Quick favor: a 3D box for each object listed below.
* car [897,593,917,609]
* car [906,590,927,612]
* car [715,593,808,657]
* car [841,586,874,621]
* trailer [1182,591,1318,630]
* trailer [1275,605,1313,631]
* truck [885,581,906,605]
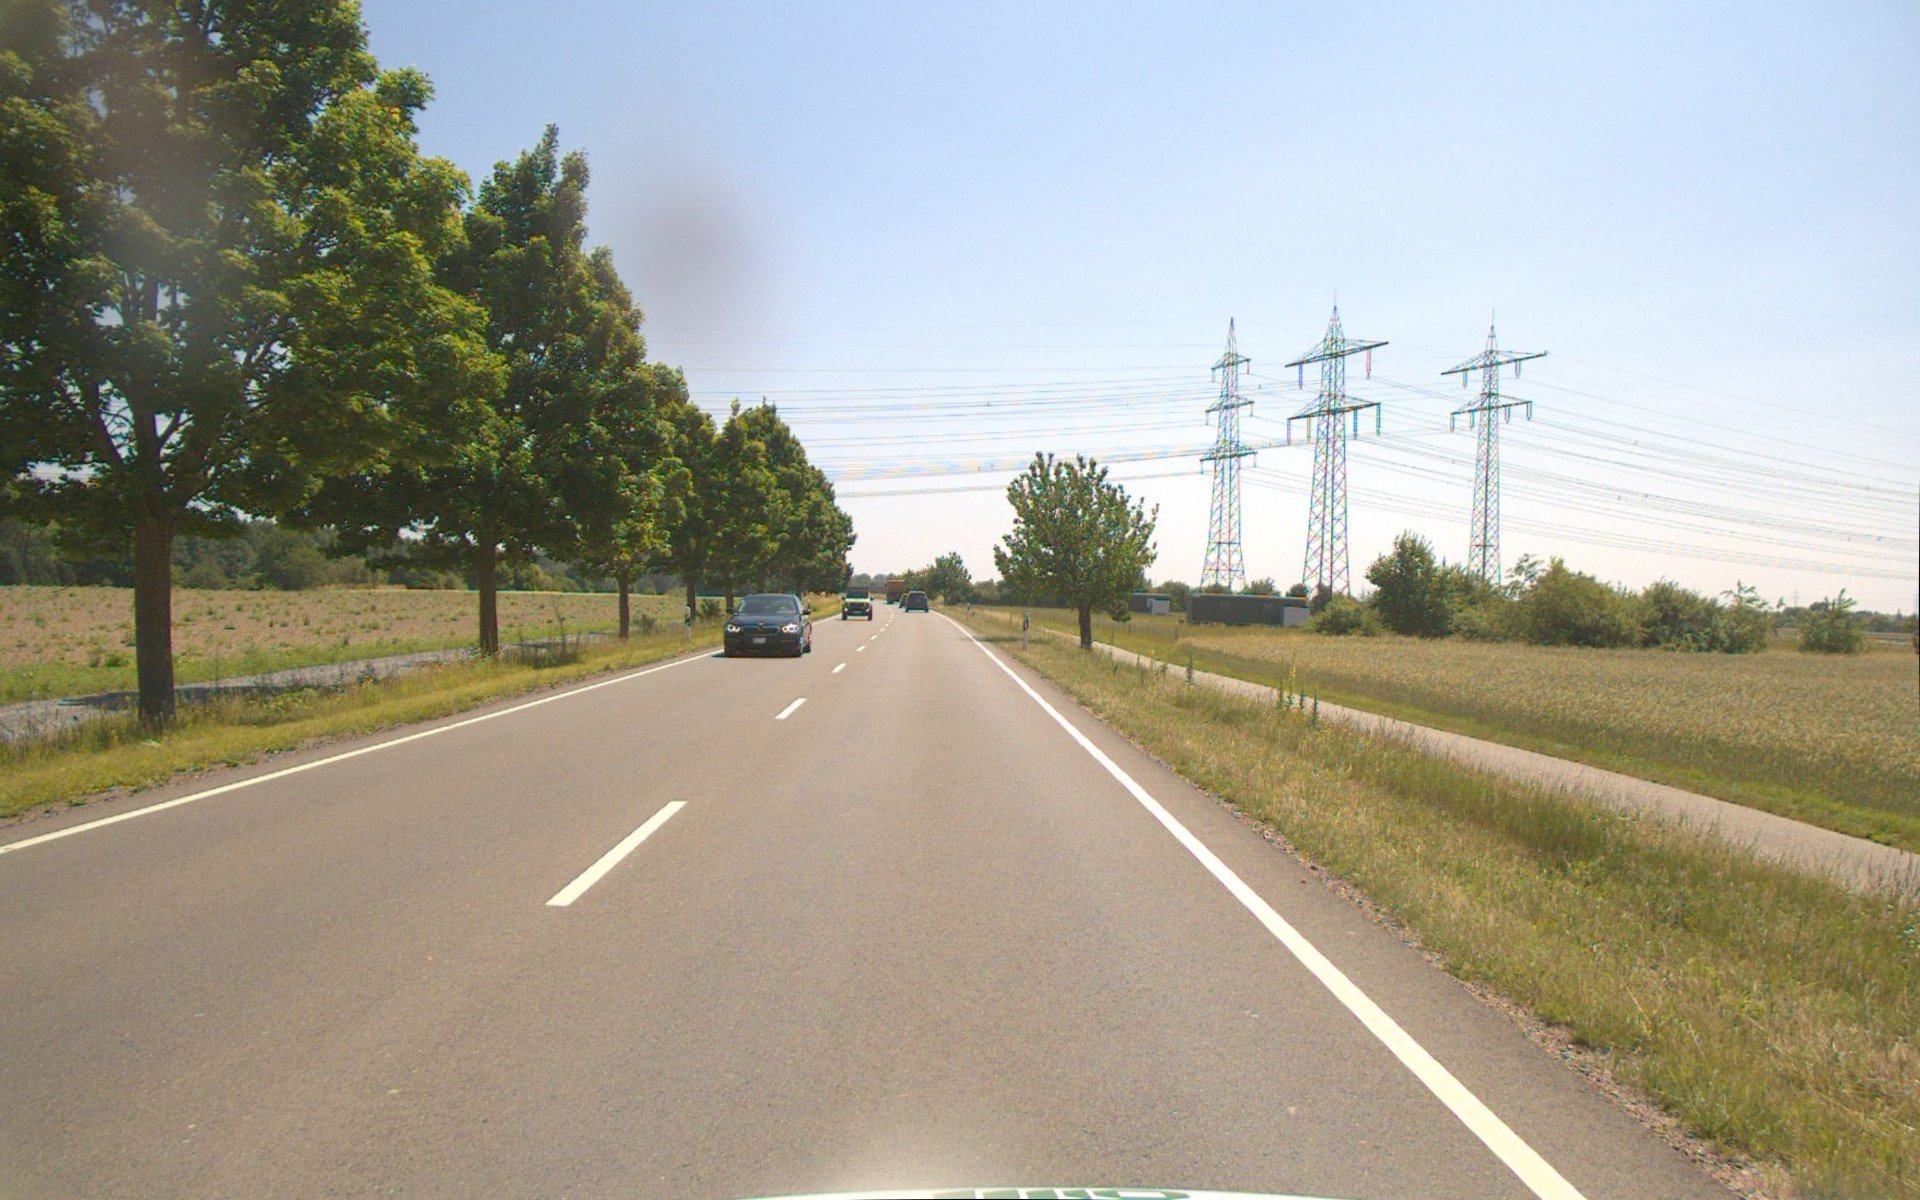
[{"bbox_3d":[-5.525,0.109,172.264,1.814,1.549,3.996,1,0,-5],"label":"car"},{"bbox_3d":[-3.575,0.093,135.064,1.680,1.723,3.986,1,0,-2],"label":"car"},{"bbox_3d":[-4.768,0.575,40.323,1.785,1.445,4.588,1,0,-1],"label":"car"},{"bbox_3d":[-5.827,0.191,94.228,1.647,1.881,3.999,2,0,-2],"label":"car"},{"bbox_3d":[29.606,1.012,169.231,13.243,3.536,3.274,2,0,-4],"label":"trailer"},{"bbox_3d":[33.665,1.791,166.720,3.340,2.505,2.036,2,0,-4],"label":"trailer"},{"bbox_3d":[-8.759,-0.934,225.138,2.325,3.195,8.737,1,0,-5],"label":"truck"}]
